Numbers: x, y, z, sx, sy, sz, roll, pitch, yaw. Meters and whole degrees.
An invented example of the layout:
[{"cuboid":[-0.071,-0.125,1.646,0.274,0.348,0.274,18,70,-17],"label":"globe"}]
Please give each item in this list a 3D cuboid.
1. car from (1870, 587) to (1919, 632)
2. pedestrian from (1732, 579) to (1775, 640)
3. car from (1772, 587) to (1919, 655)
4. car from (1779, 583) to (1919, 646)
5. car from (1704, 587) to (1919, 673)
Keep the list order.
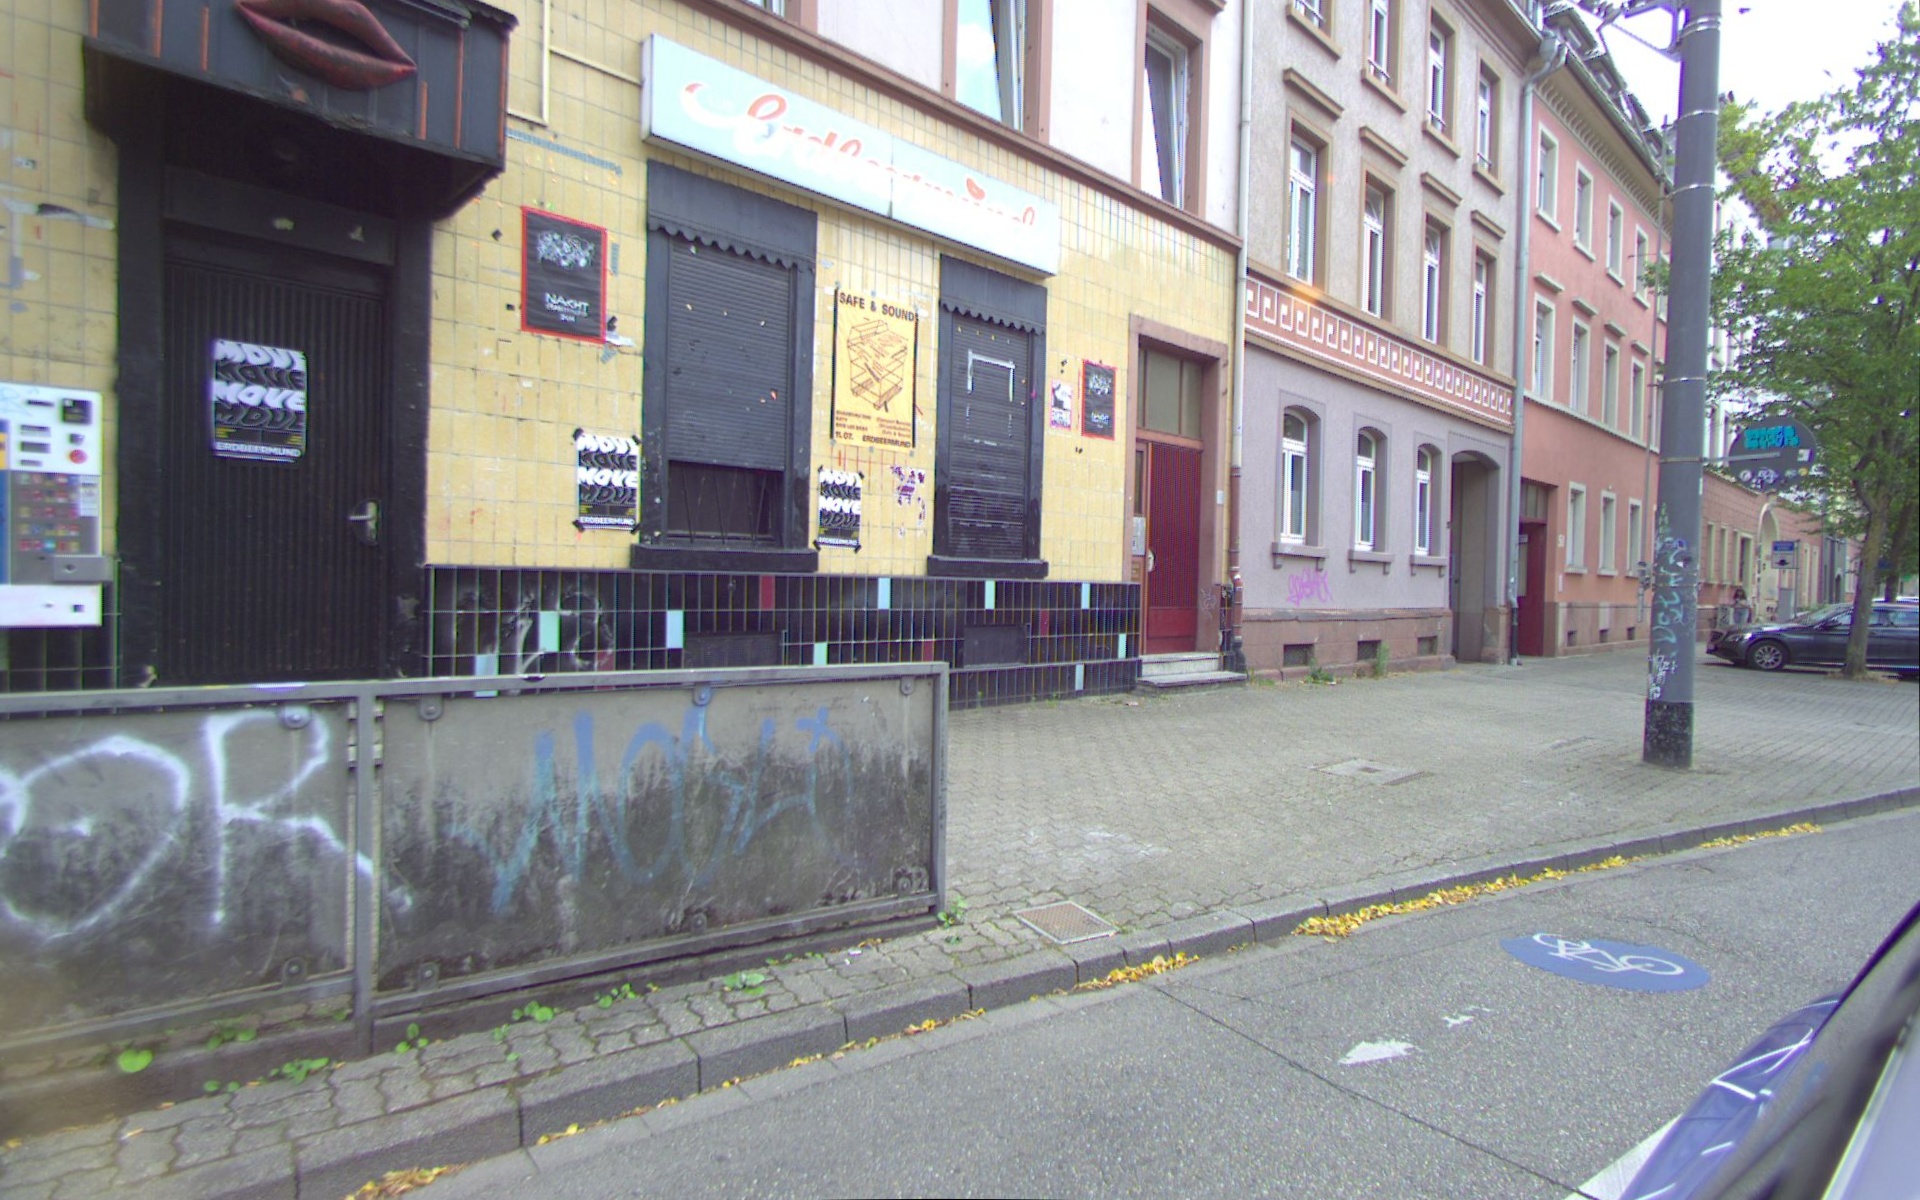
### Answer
[{"cuboid":[39.475,0.466,40.134,4.581,1.719,1.901,3,2,25],"label":"car"},{"cuboid":[23.550,0.271,30.021,0.910,1.708,0.732,1,4,-42],"label":"pedestrian"},{"cuboid":[23.142,0.533,25.086,4.301,1.498,1.774,3,2,25],"label":"car"},{"cuboid":[27.693,0.439,30.553,4.196,1.719,1.725,3,2,25],"label":"car"},{"cuboid":[18.032,0.593,20.366,4.581,1.491,1.774,3,2,25],"label":"car"}]
